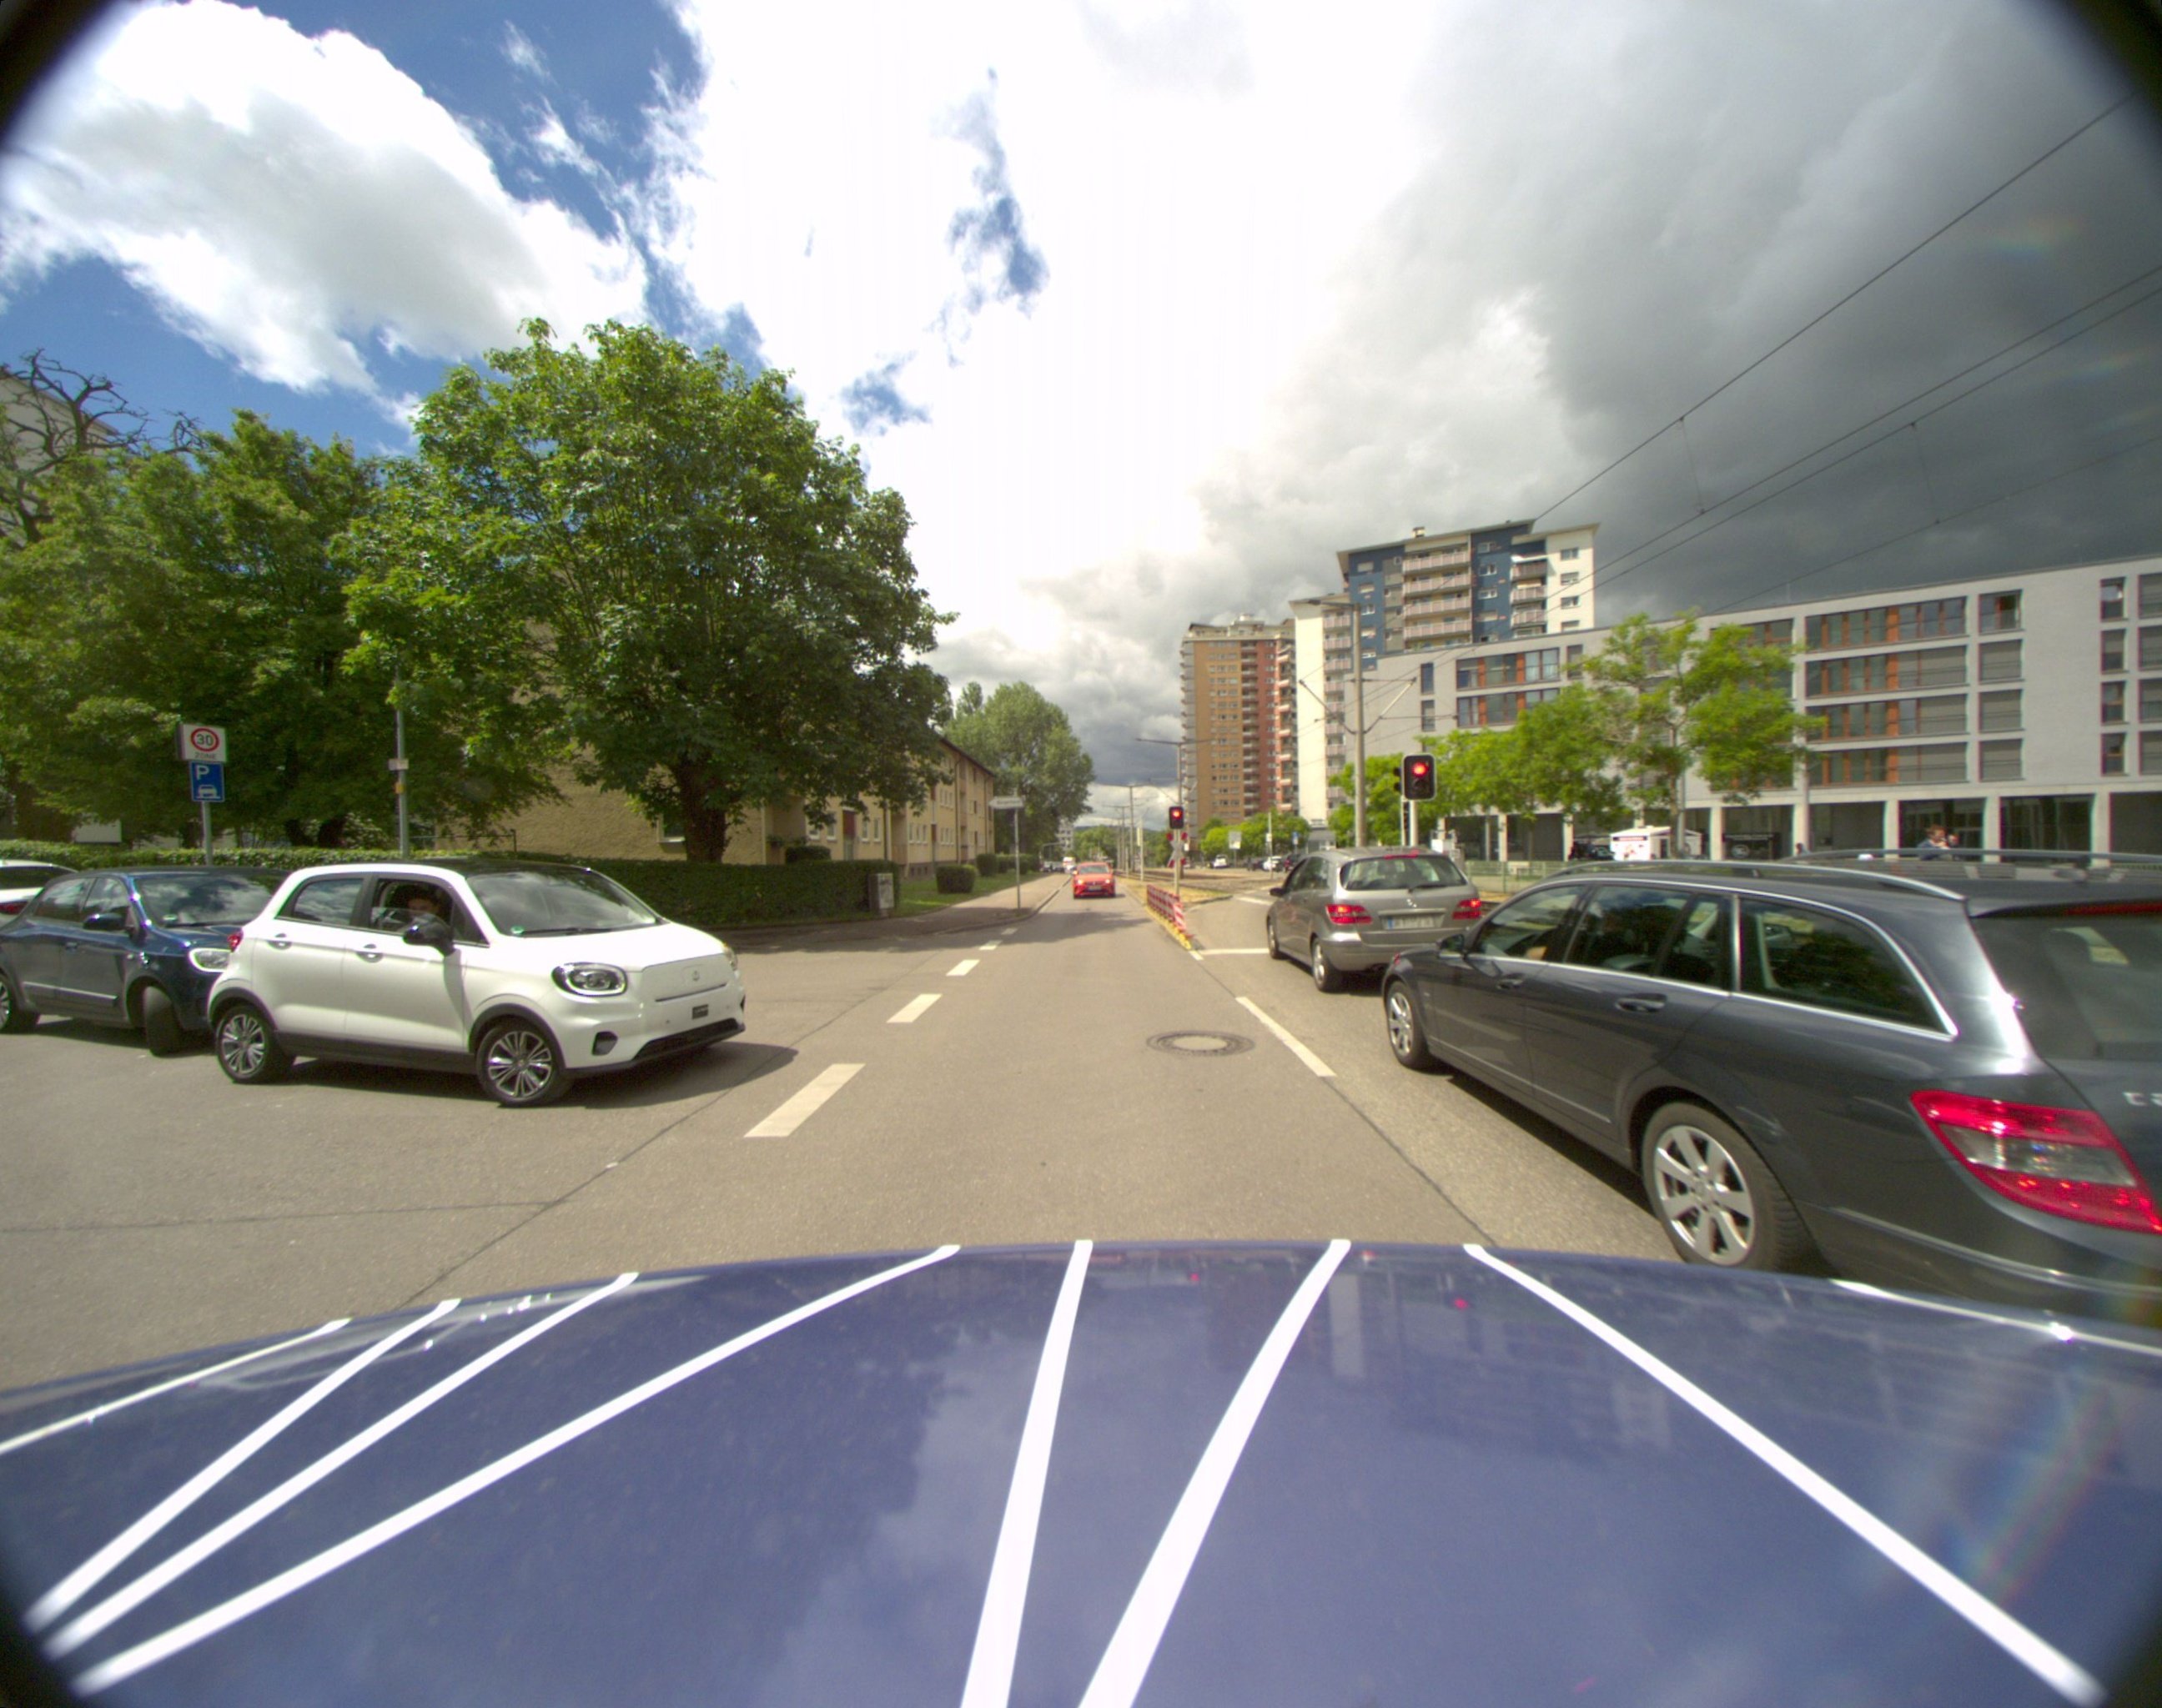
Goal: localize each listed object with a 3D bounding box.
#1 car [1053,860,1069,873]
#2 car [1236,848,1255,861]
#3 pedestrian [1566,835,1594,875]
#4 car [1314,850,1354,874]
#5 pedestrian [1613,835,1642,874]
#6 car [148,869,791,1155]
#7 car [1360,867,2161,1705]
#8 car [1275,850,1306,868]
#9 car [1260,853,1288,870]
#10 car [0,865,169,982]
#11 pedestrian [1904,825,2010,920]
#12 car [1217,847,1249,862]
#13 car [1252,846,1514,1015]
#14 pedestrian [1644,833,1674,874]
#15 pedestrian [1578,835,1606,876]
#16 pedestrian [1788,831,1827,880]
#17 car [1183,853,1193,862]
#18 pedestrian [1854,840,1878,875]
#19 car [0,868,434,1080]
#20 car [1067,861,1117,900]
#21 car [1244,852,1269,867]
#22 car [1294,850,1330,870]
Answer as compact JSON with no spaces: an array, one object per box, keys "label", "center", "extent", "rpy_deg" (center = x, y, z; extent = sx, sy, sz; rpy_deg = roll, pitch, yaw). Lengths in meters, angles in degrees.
[{"label":"car","center":[-2.652,1.619,99.718],"extent":[1.843,1.648,3.789],"rpy_deg":[-2,0,1]},{"label":"car","center":[21.892,0.119,101.315],"extent":[1.781,1.650,3.804],"rpy_deg":[-2,0,1]},{"label":"pedestrian","center":[21.108,0.034,32.145],"extent":[0.749,1.644,0.538],"rpy_deg":[-2,1,1]},{"label":"car","center":[18.552,0.555,55.789],"extent":[1.893,1.613,3.805],"rpy_deg":[-2,0,5]},{"label":"pedestrian","center":[28.737,0.011,39.967],"extent":[0.734,2.002,0.910],"rpy_deg":[-2,0,-16]},{"label":"car","center":[-4.324,0.927,5.631],"extent":[3.642,1.562,1.844],"rpy_deg":[0,1,13]},{"label":"car","center":[2.999,0.853,3.605],"extent":[1.815,1.437,4.465],"rpy_deg":[-2,0,2]},{"label":"car","center":[18.757,0.464,68.189],"extent":[1.781,1.530,3.804],"rpy_deg":[-2,0,1]},{"label":"car","center":[18.922,0.704,74.516],"extent":[1.781,1.530,3.804],"rpy_deg":[-2,0,1]},{"label":"car","center":[-16.444,0.919,10.872],"extent":[4.534,1.495,1.852],"rpy_deg":[0,0,0]},{"label":"pedestrian","center":[15.487,0.315,13.465],"extent":[0.756,1.603,0.938],"rpy_deg":[-2,0,1]},{"label":"car","center":[21.149,0.062,105.715],"extent":[4.505,1.914,1.877],"rpy_deg":[-2,0,-39]},{"label":"car","center":[3.504,0.770,9.730],"extent":[1.861,1.650,4.177],"rpy_deg":[-2,0,3]},{"label":"pedestrian","center":[29.401,-0.017,38.656],"extent":[0.734,2.002,0.910],"rpy_deg":[-2,0,-16]},{"label":"pedestrian","center":[21.112,0.059,31.385],"extent":[0.749,1.644,0.538],"rpy_deg":[-2,1,1]},{"label":"pedestrian","center":[24.133,0.057,25.260],"extent":[0.538,1.601,0.748],"rpy_deg":[-3,1,-21]},{"label":"car","center":[19.754,0.595,140.343],"extent":[1.780,1.491,3.805],"rpy_deg":[-2,0,6]},{"label":"pedestrian","center":[42.578,0.185,41.223],"extent":[0.748,1.895,0.539],"rpy_deg":[-2,1,29]},{"label":"car","center":[-8.509,0.952,7.289],"extent":[3.641,1.562,1.844],"rpy_deg":[0,1,18]},{"label":"car","center":[0.524,1.047,30.787],"extent":[1.791,1.387,4.243],"rpy_deg":[-3,-1,3]},{"label":"car","center":[18.756,0.565,81.343],"extent":[1.781,1.530,3.804],"rpy_deg":[-2,0,1]},{"label":"car","center":[18.825,0.467,62.132],"extent":[1.893,1.530,3.804],"rpy_deg":[-2,0,2]}]
